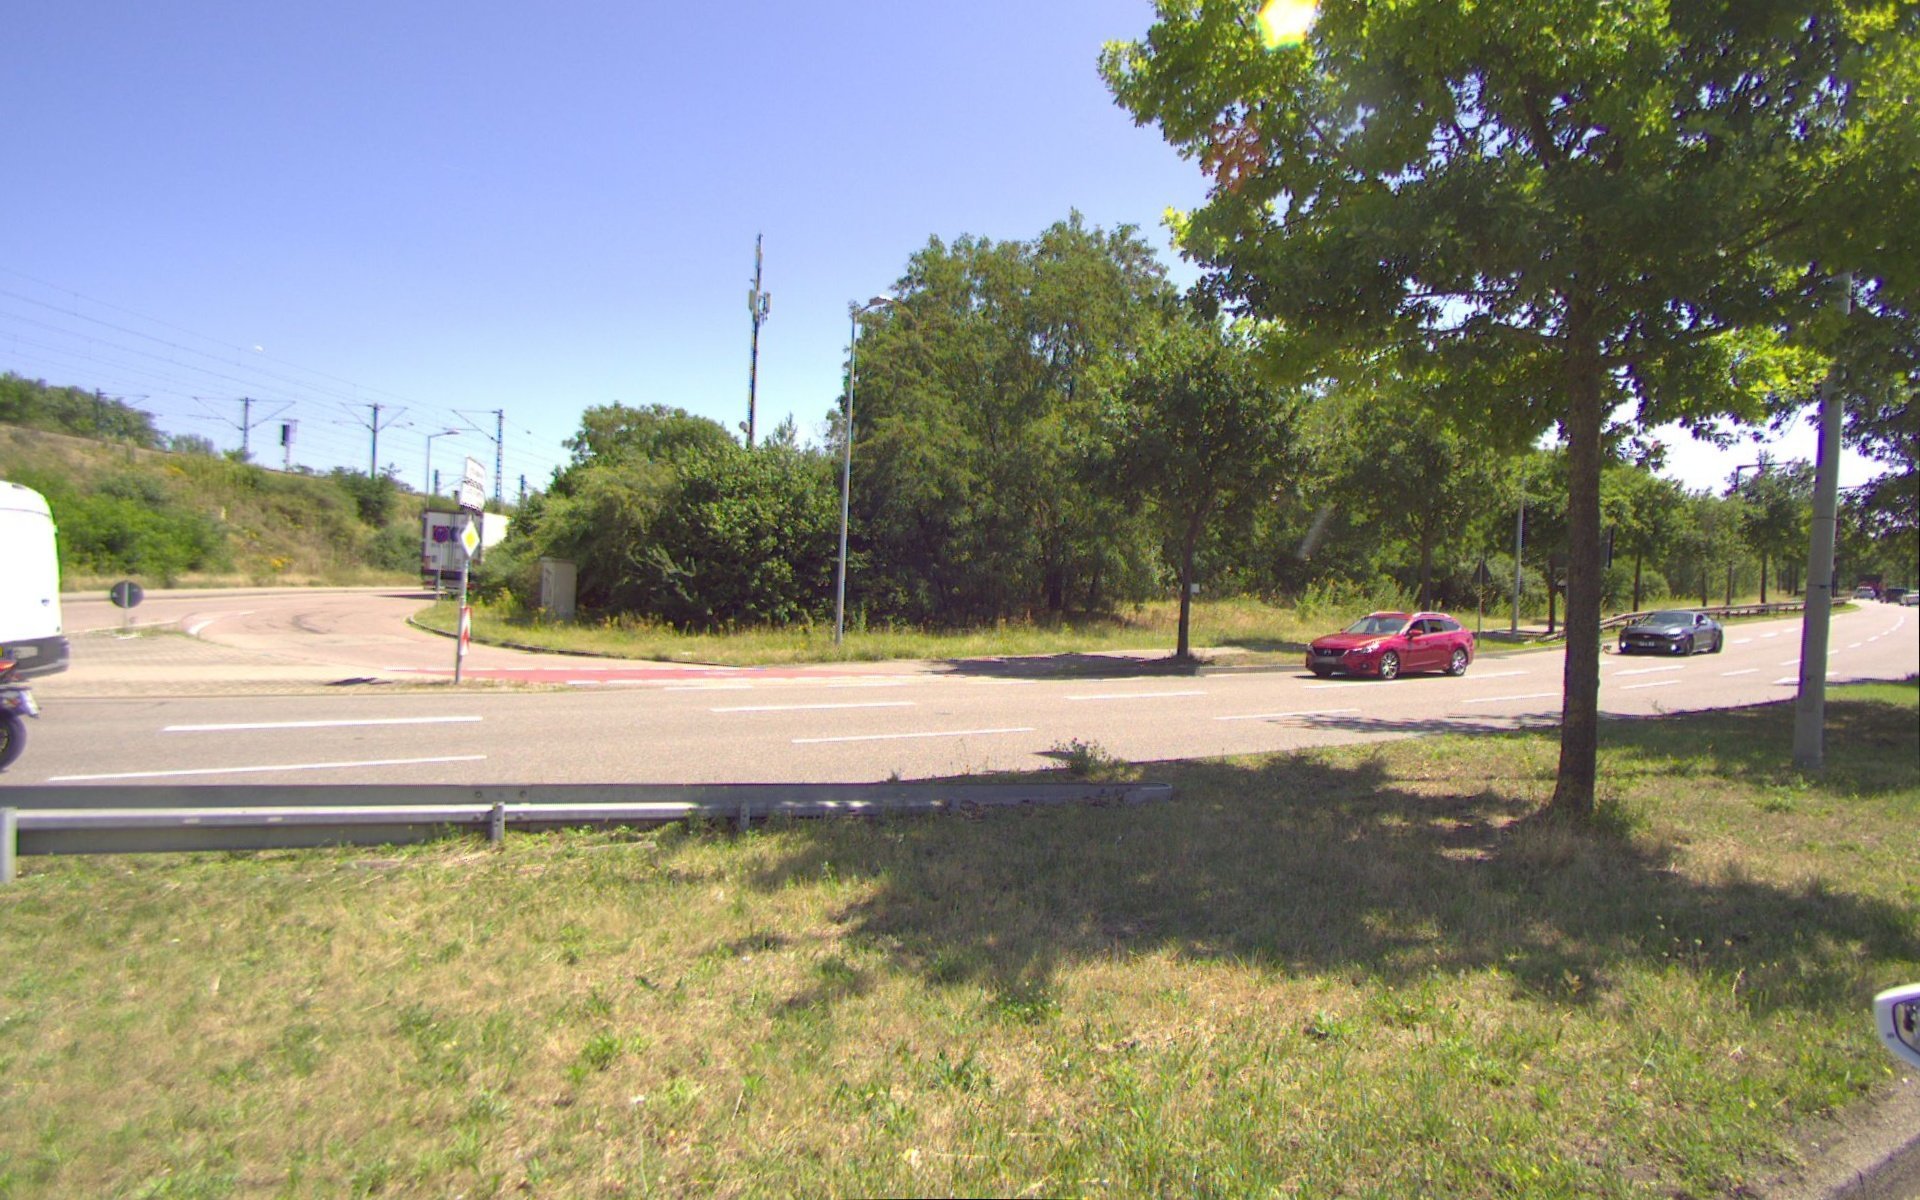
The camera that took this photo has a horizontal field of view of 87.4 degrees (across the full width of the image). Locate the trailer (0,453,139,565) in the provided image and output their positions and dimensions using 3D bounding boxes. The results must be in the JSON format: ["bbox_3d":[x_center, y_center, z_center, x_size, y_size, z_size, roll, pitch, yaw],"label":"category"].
[{"bbox_3d":[-37.870,-3.527,37.595,2.960,4.104,12.710,1,1,5],"label":"trailer"}]

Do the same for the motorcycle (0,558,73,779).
[{"bbox_3d":[-8.298,0.496,7.501,2.397,1.700,0.595,2,0,-31],"label":"motorcycle"}]

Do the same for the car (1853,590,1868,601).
[{"bbox_3d":[106.026,-0.507,118.304,1.307,1.154,2.979,2,0,42],"label":"car"}]

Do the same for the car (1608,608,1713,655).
[{"bbox_3d":[22.569,1.010,32.286,4.536,1.351,1.792,2,0,-43],"label":"car"}]

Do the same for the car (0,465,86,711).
[{"bbox_3d":[-12.811,-0.112,10.048,5.732,2.534,2.087,0,0,-26],"label":"car"}]

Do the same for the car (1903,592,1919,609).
[{"bbox_3d":[84.256,0.047,88.545,1.439,1.331,3.620,2,0,40],"label":"car"}]

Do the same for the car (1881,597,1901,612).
[{"bbox_3d":[91.658,0.420,98.885,1.402,1.331,3.319,2,0,43],"label":"car"}]

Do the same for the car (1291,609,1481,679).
[{"bbox_3d":[9.788,0.996,22.964,4.476,1.456,1.820,2,-2,-33],"label":"car"}]
